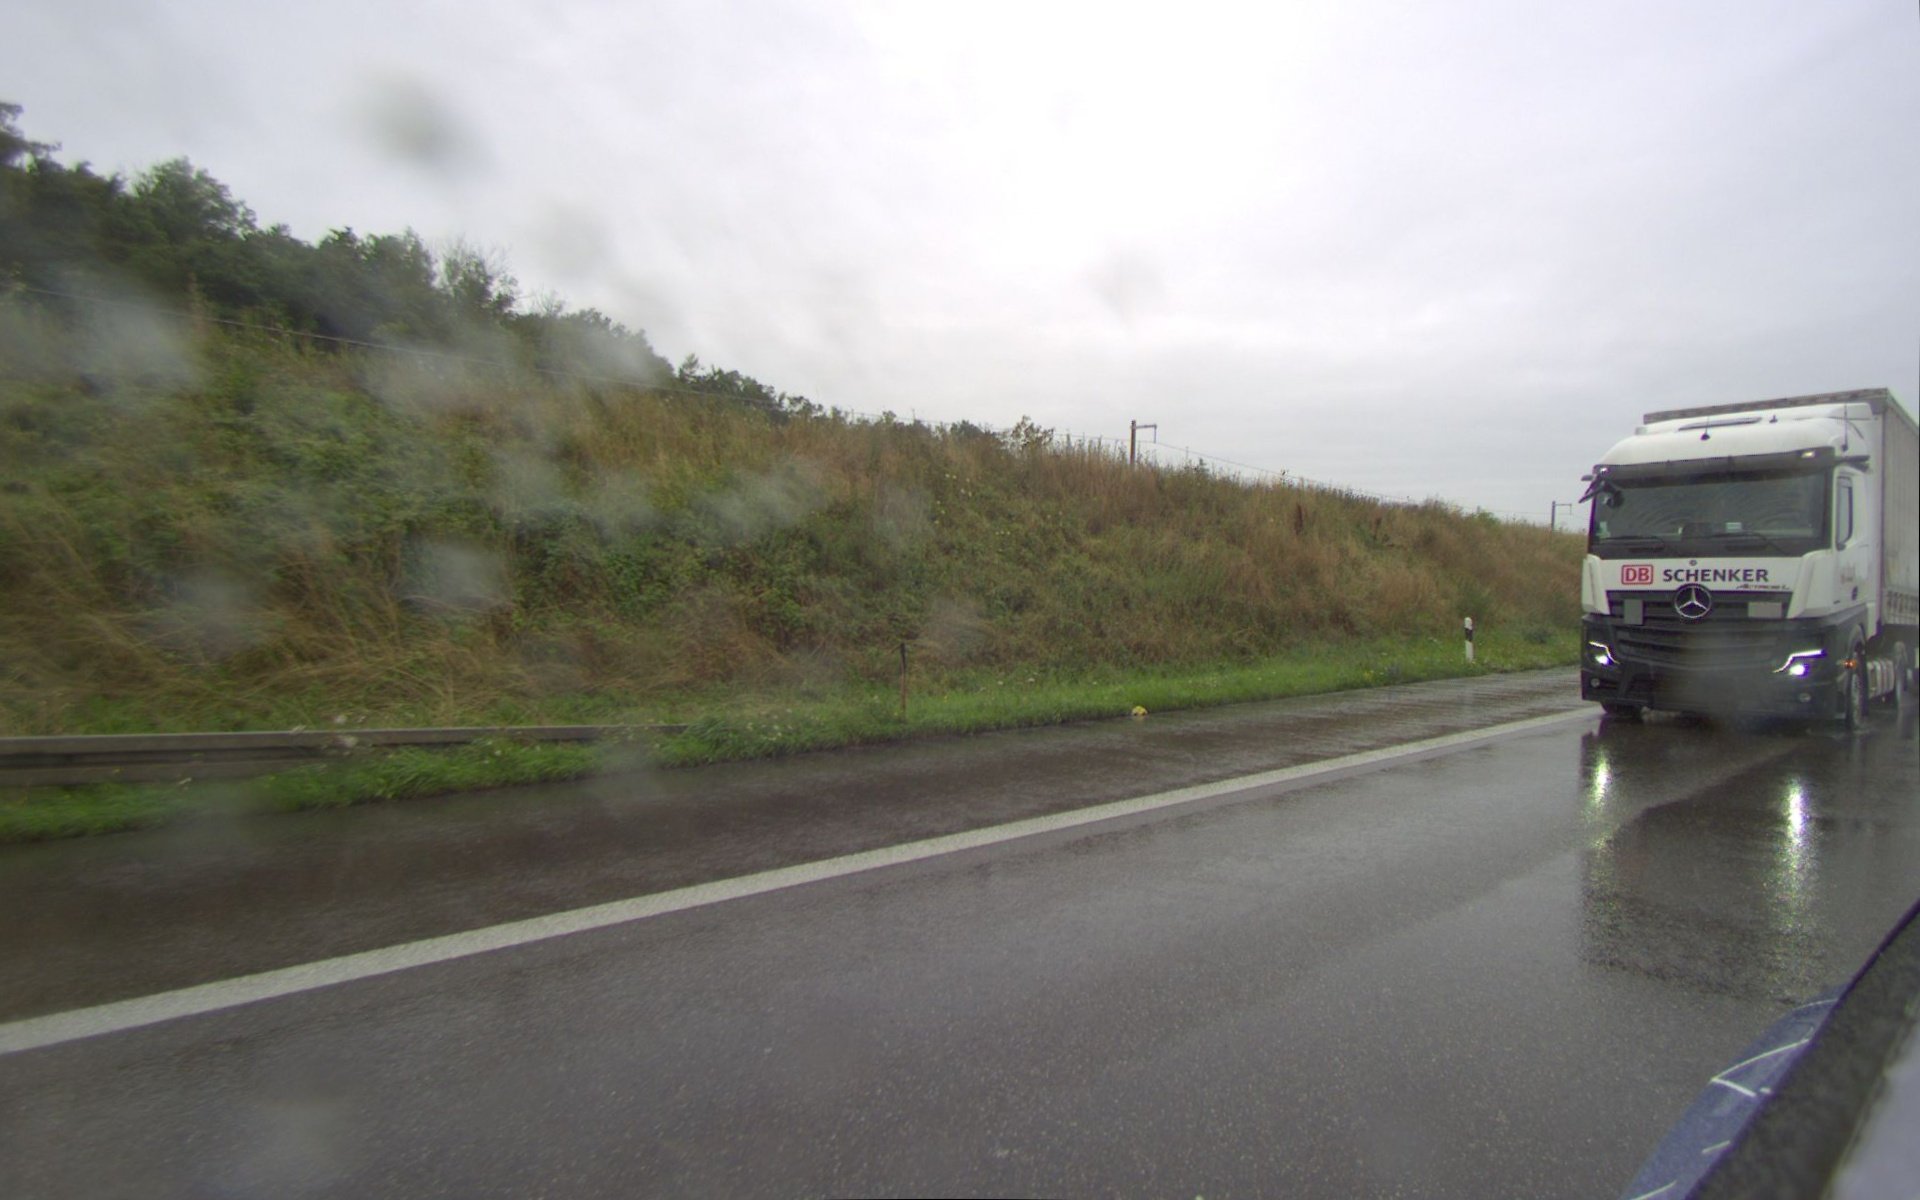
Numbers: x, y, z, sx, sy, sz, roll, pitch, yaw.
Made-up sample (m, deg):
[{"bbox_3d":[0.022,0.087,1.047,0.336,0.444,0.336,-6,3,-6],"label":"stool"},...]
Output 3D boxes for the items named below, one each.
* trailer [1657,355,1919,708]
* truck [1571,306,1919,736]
[{"bbox_3d":[16.016,-0.916,17.913,13.928,4.302,2.631,-1,1,-41],"label":"trailer"},{"bbox_3d":[10.041,-0.825,12.760,4.956,4.307,2.630,-1,0,-41],"label":"truck"}]
